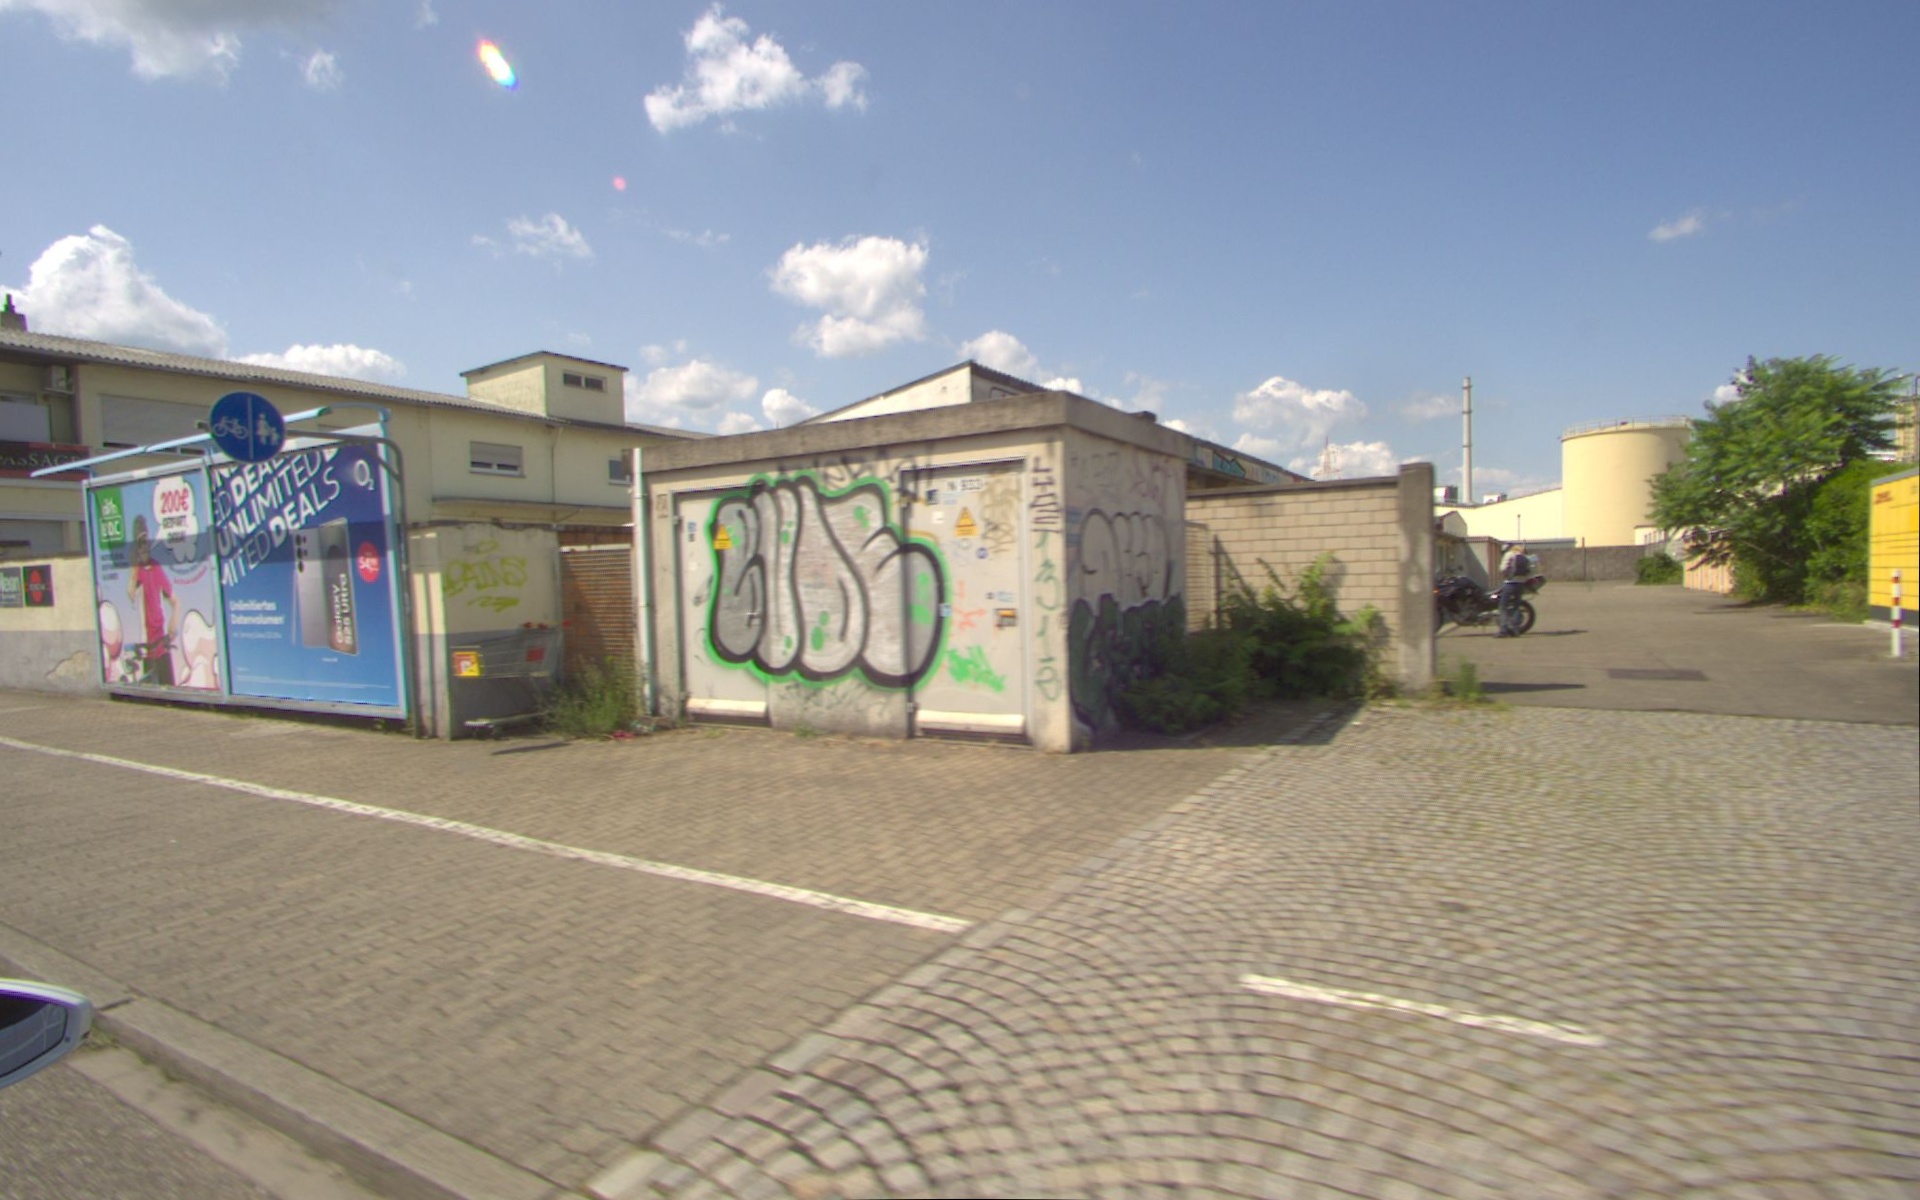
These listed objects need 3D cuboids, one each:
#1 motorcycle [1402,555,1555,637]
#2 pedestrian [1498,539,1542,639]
[{"bbox_3d":[9.001,-0.056,17.483,2.309,1.345,0.625,-1,2,25],"label":"motorcycle"},{"bbox_3d":[9.332,-0.175,16.711,0.588,1.625,0.487,-1,0,26],"label":"pedestrian"}]
